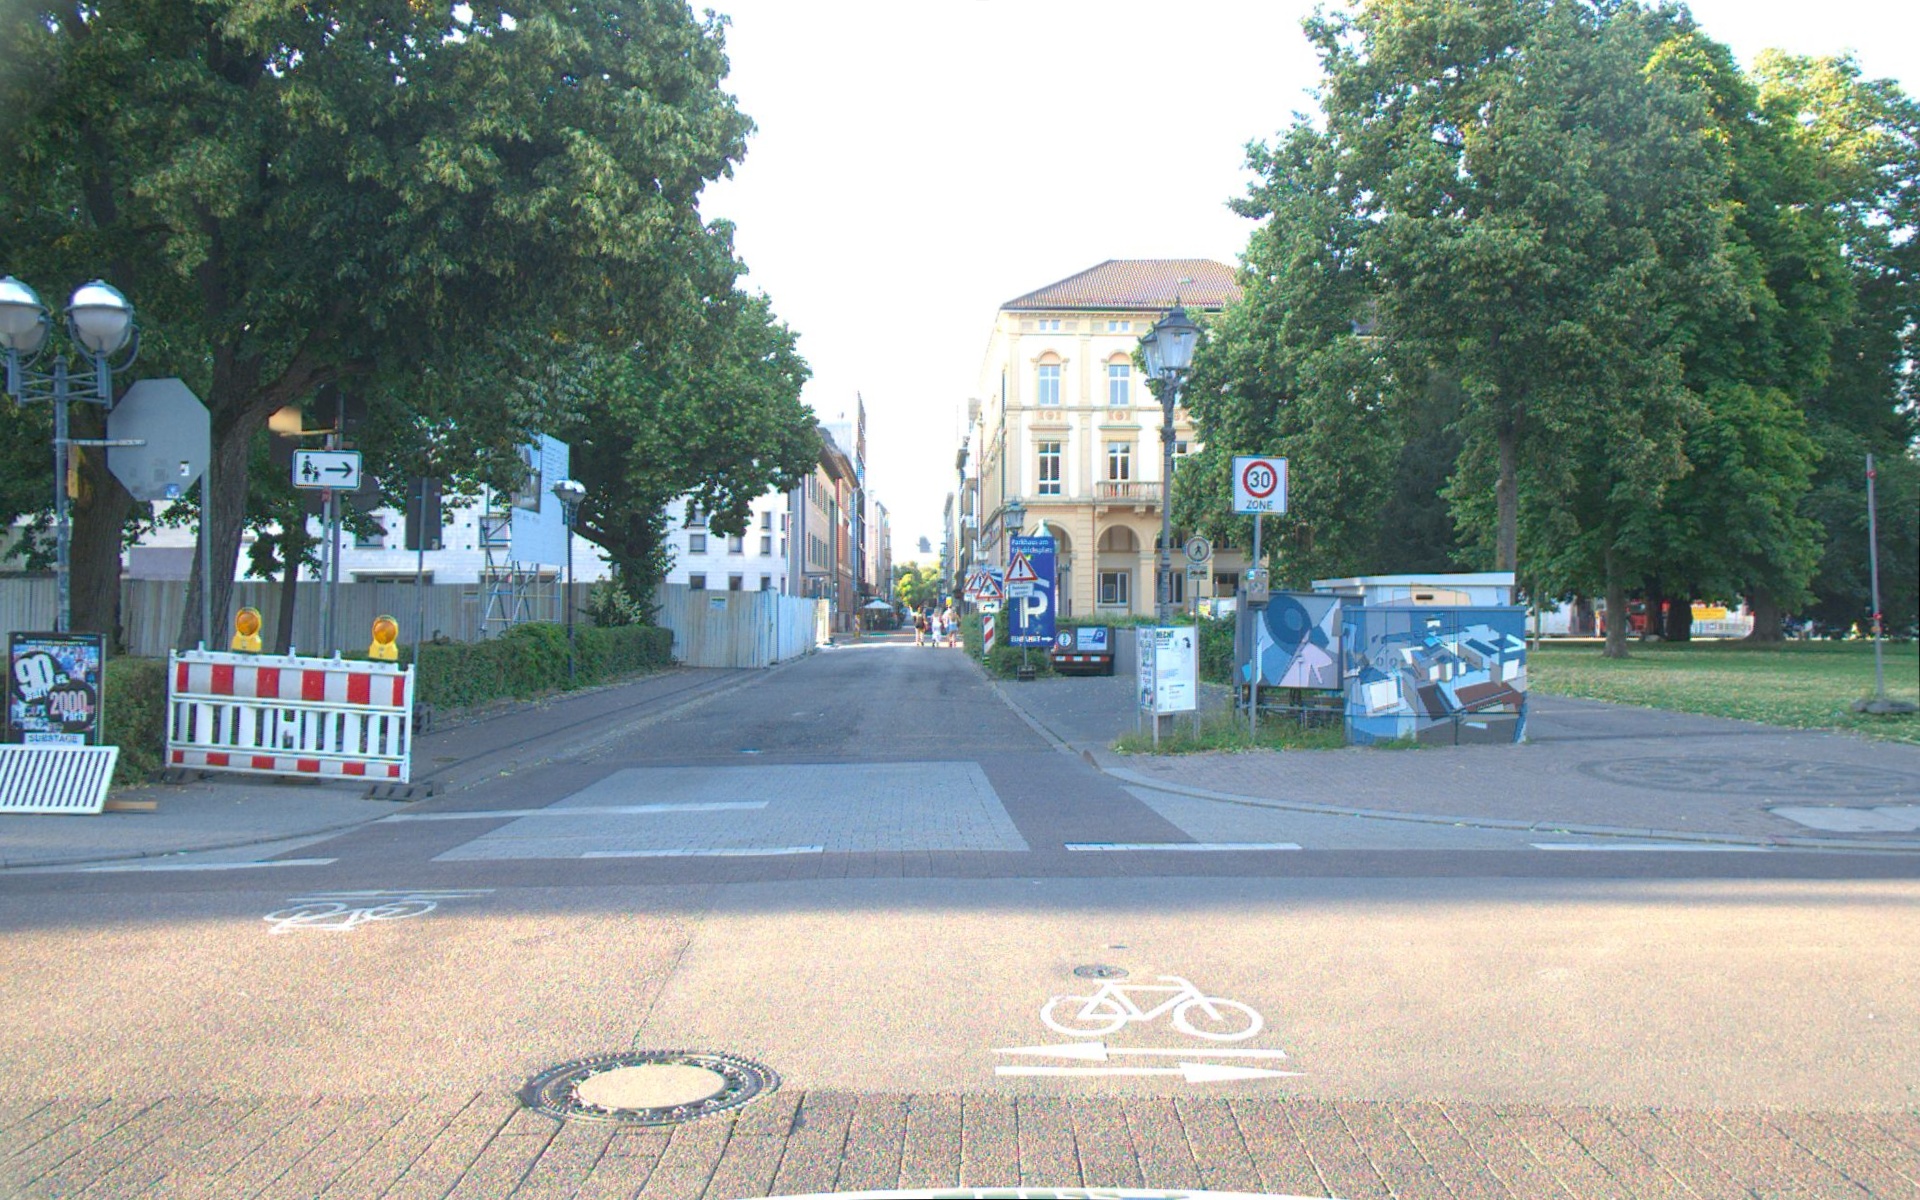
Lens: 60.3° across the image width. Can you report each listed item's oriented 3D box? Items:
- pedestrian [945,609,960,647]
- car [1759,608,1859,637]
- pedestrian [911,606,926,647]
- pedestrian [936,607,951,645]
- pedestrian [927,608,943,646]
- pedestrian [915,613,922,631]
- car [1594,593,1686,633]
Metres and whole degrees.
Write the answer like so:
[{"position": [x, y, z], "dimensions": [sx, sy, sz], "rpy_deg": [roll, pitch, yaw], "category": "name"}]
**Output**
[{"position": [-0.319, 1.208, 71.649], "dimensions": [0.644, 1.645, 0.745], "rpy_deg": [-1, -1, -1], "category": "pedestrian"}, {"position": [38.260, 0.999, 74.601], "dimensions": [3.506, 1.262, 1.996], "rpy_deg": [0, 0, -8], "category": "car"}, {"position": [-1.812, 1.169, 72.775], "dimensions": [0.644, 1.790, 0.745], "rpy_deg": [-1, -1, -1], "category": "pedestrian"}, {"position": [-0.738, 1.126, 72.832], "dimensions": [0.644, 1.664, 0.745], "rpy_deg": [-1, -1, -1], "category": "pedestrian"}, {"position": [-1.078, 1.173, 71.637], "dimensions": [0.644, 1.645, 0.745], "rpy_deg": [-1, -1, -1], "category": "pedestrian"}, {"position": [-4.296, 2.284, 171.409], "dimensions": [0.727, 1.866, 0.762], "rpy_deg": [-1, -1, 2], "category": "pedestrian"}, {"position": [35.378, 0.667, 86.159], "dimensions": [3.949, 2.049, 2.000], "rpy_deg": [-1, -1, 0], "category": "car"}]
